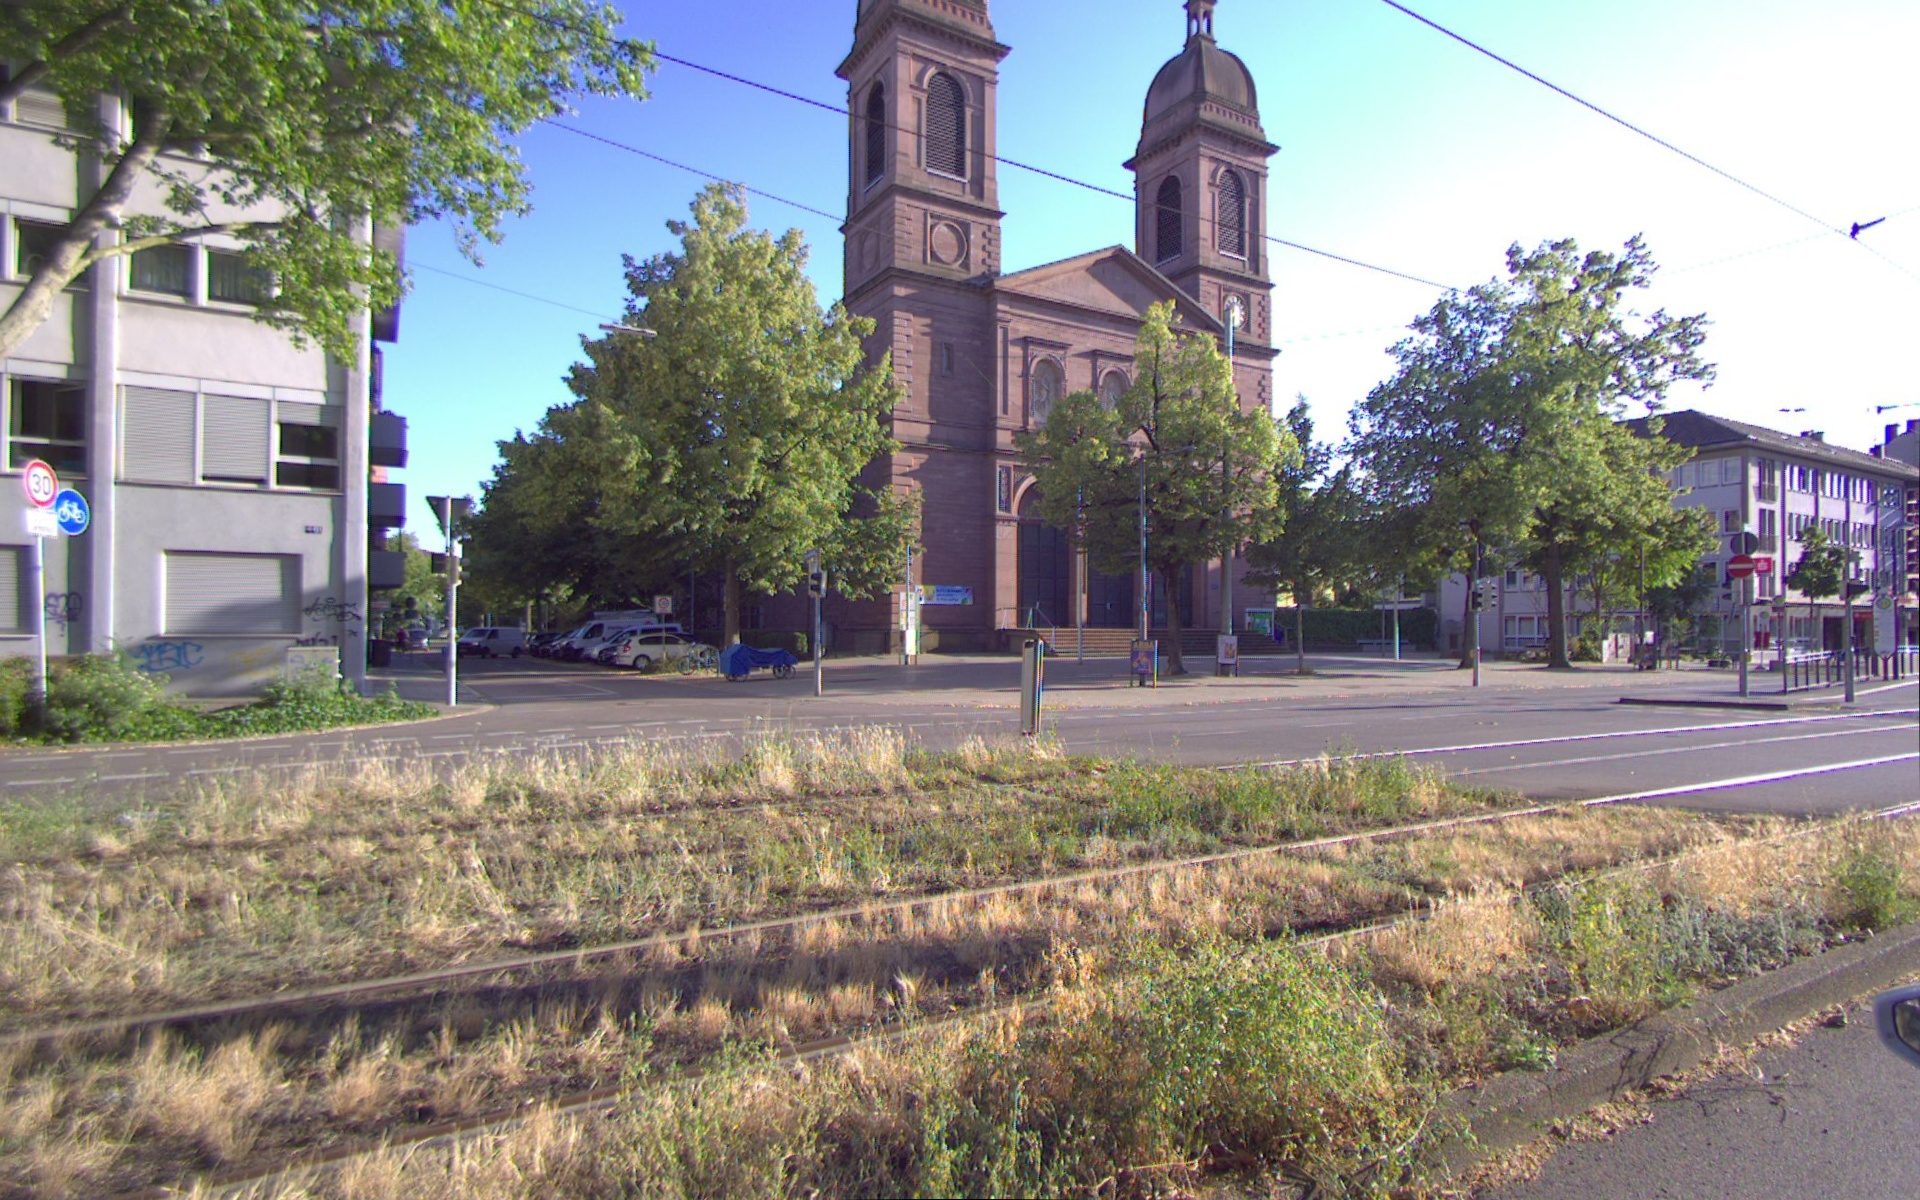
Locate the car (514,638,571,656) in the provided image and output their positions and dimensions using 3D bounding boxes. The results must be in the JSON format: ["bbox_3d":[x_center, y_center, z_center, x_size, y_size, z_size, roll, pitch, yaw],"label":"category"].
[{"bbox_3d":[-30.789,3.433,74.095,3.667,1.303,1.662,1,-2,-30],"label":"car"}]

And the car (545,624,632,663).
[{"bbox_3d":[-20.420,2.376,55.265,4.174,2.040,1.981,1,0,-34],"label":"car"}]

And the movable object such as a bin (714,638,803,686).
[{"bbox_3d":[-6.153,1.864,30.709,2.416,1.228,1.102,-3,2,-30],"label":"movable object such as a bin"}]

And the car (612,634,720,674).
[{"bbox_3d":[-12.224,2.227,41.820,3.953,1.479,1.984,2,0,-30],"label":"car"}]

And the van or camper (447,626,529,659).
[{"bbox_3d":[-30.084,2.688,64.218,1.960,2.040,5.138,0,-2,14],"label":"van or camper"}]

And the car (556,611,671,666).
[{"bbox_3d":[-18.292,2.027,53.108,5.381,2.710,1.980,1,0,-36],"label":"car"}]

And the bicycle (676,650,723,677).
[{"bbox_3d":[-9.060,2.203,34.960,1.517,0.904,0.465,1,0,-27],"label":"bicycle"}]

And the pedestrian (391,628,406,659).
[{"bbox_3d":[-33.322,2.574,59.615,0.682,1.774,0.636,1,-2,-37],"label":"pedestrian"}]

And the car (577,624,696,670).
[{"bbox_3d":[-15.520,2.235,48.314,5.121,2.040,1.981,1,0,-34],"label":"car"}]

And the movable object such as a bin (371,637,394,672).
[{"bbox_3d":[-22.301,2.109,38.805,0.737,1.323,0.865,1,-2,-32],"label":"movable object such as a bin"}]

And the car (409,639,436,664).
[{"bbox_3d":[-45.760,4.346,85.471,1.976,2.040,3.970,1,-2,-29],"label":"car"}]
